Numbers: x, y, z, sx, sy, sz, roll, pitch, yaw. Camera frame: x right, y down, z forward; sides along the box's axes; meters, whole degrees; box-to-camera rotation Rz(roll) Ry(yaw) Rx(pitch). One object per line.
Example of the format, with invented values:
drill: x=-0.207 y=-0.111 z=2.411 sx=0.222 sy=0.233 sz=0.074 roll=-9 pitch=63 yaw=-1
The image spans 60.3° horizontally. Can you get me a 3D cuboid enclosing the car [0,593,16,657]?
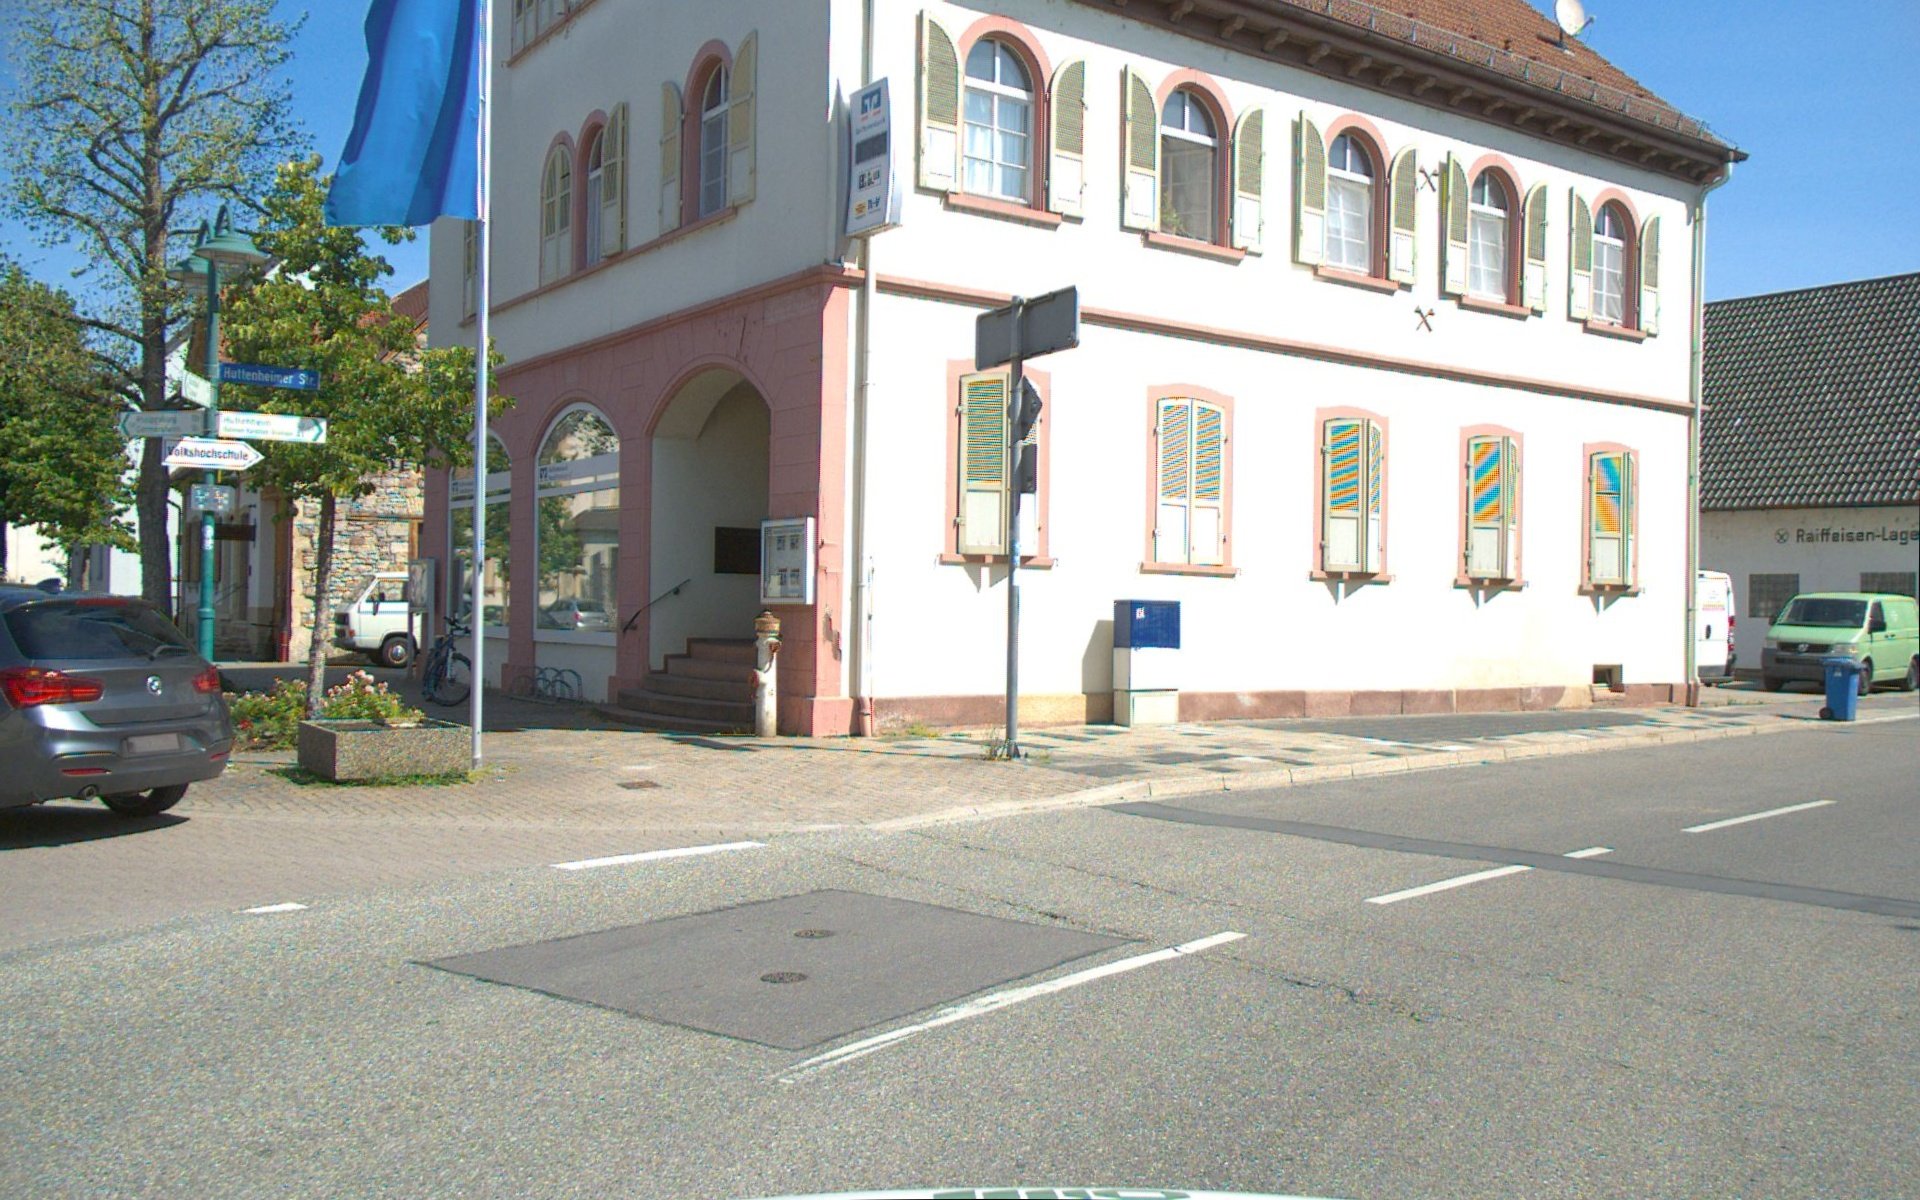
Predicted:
car: x=-25.856 y=0.602 z=40.963 sx=4.117 sy=1.596 sz=1.975 roll=1 pitch=0 yaw=-36

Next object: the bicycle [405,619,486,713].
bicycle: x=-6.739 y=0.837 z=21.615 sx=0.587 sy=1.155 sz=1.729 roll=1 pitch=0 yaw=-32

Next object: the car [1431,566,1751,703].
car: x=11.192 y=0.531 z=29.723 sx=2.096 sy=2.235 sz=5.133 roll=1 pitch=0 yaw=-33

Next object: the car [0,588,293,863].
car: x=-6.419 y=0.607 z=9.937 sx=4.164 sy=1.400 sz=1.743 roll=2 pitch=-1 yaw=13

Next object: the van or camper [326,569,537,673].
van or camper: x=-11.054 y=0.435 z=34.603 sx=3.940 sy=2.049 sz=1.983 roll=1 pitch=0 yaw=-27

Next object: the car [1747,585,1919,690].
car: x=17.986 y=0.725 z=33.738 sx=4.632 sy=1.999 sz=1.968 roll=1 pitch=0 yaw=-44

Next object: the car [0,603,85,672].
car: x=-20.250 y=0.746 z=33.870 sx=3.893 sy=1.368 sz=1.975 roll=1 pitch=0 yaw=-36

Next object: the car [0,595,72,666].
car: x=-23.826 y=0.704 z=39.112 sx=4.765 sy=1.652 sz=1.975 roll=1 pitch=0 yaw=-36

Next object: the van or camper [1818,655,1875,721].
van or camper: x=13.614 y=1.338 z=25.388 sx=0.594 sy=0.968 sz=0.583 roll=1 pitch=0 yaw=-39
